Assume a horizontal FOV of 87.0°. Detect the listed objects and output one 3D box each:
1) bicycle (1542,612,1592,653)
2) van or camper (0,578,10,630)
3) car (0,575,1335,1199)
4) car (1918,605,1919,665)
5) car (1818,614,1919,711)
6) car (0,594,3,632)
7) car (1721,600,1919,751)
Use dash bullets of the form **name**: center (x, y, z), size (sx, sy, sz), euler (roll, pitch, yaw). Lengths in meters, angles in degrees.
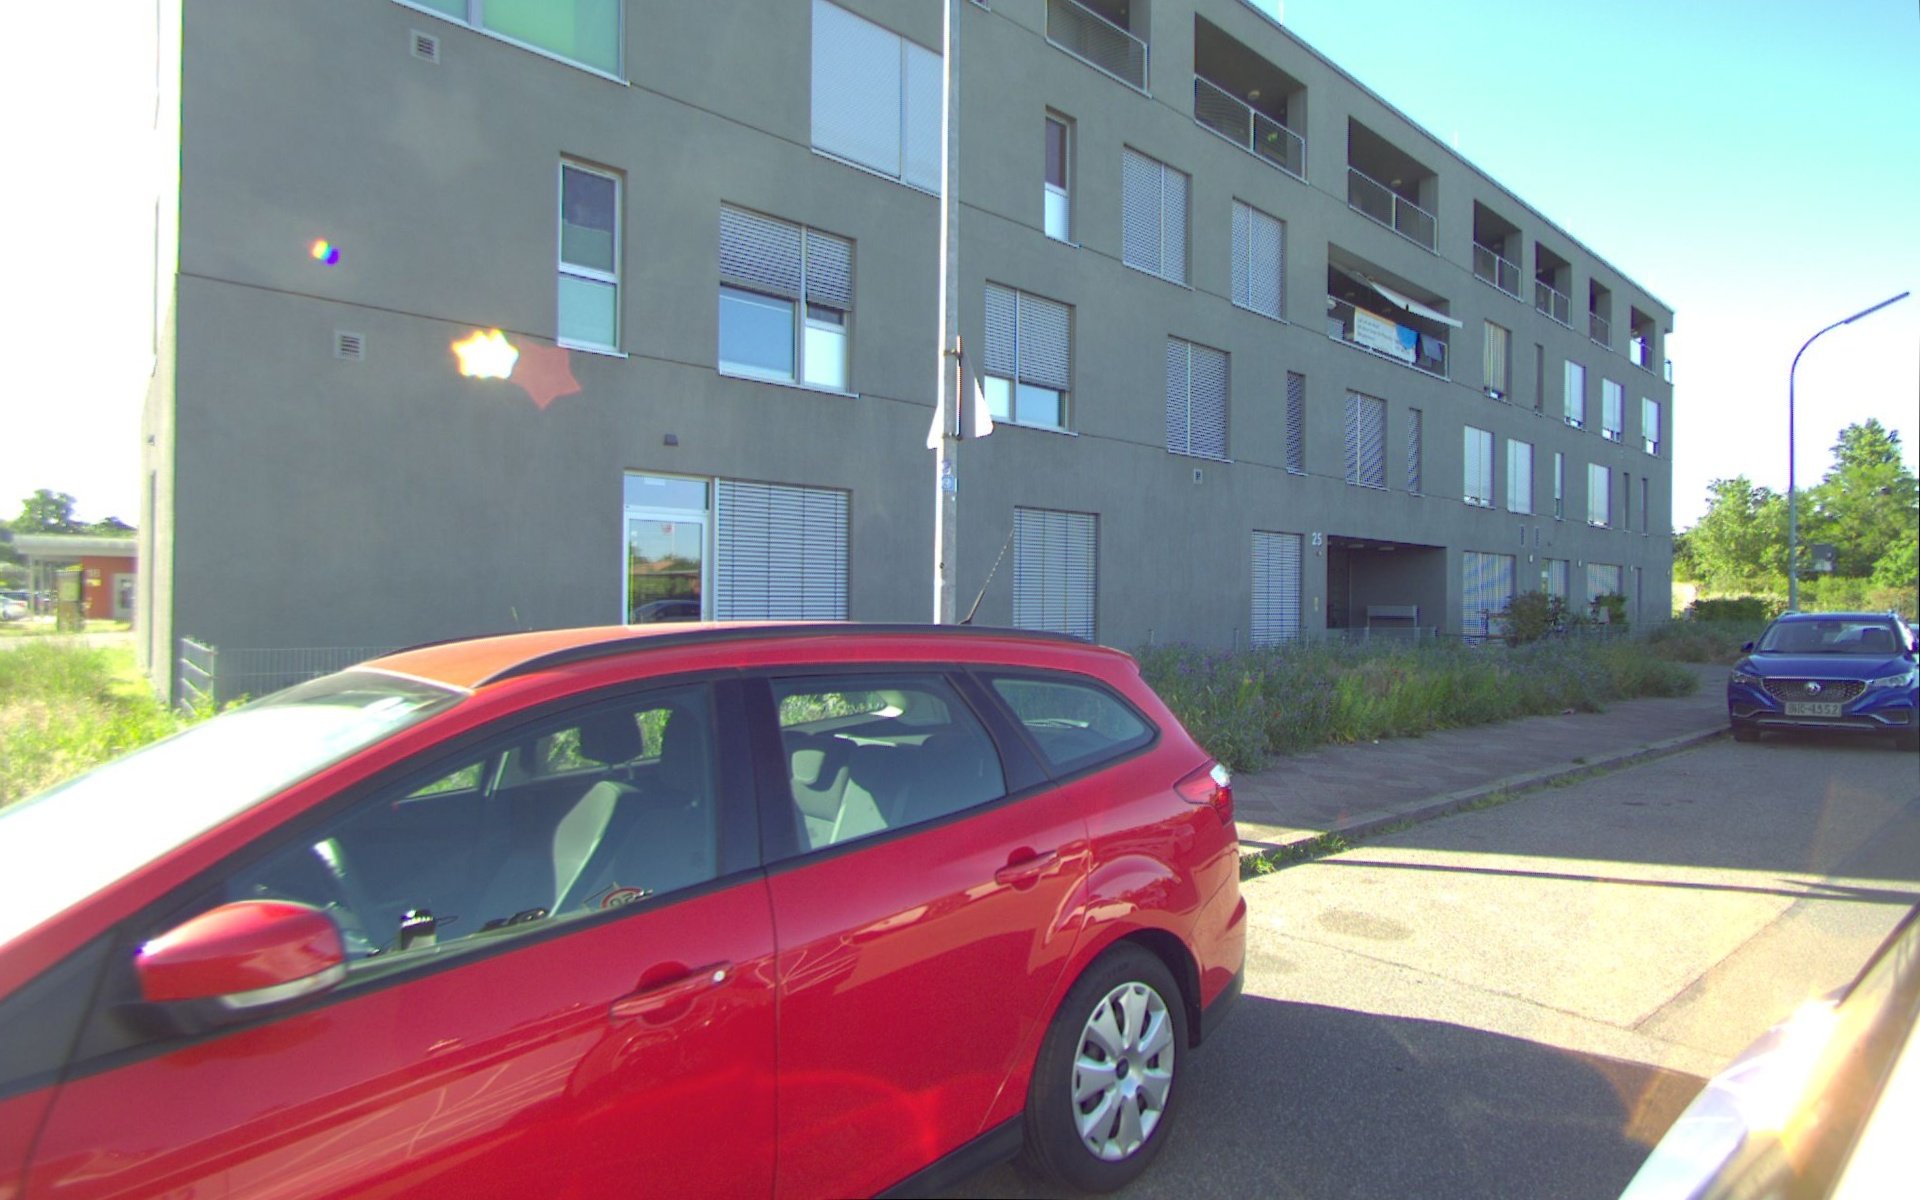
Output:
- **bicycle**: center (16.692, 0.875, 27.816), size (1.808, 1.075, 0.553), euler (0, -1, -37)
- **van or camper**: center (-39.289, 0.124, 37.889), size (5.199, 1.983, 1.998), euler (1, 0, -39)
- **car**: center (-1.016, 0.740, 2.488), size (4.375, 1.519, 1.821), euler (1, -1, -42)
- **car**: center (26.732, 0.894, 26.680), size (4.081, 1.546, 1.709), euler (0, -1, -40)
- **car**: center (15.943, 0.966, 16.898), size (4.505, 1.448, 1.747), euler (0, -2, -41)
- **car**: center (-36.546, 0.442, 35.658), size (4.016, 1.366, 1.760), euler (1, 0, -41)
- **car**: center (11.419, 0.837, 12.961), size (4.548, 1.620, 1.819), euler (1, -2, -42)
